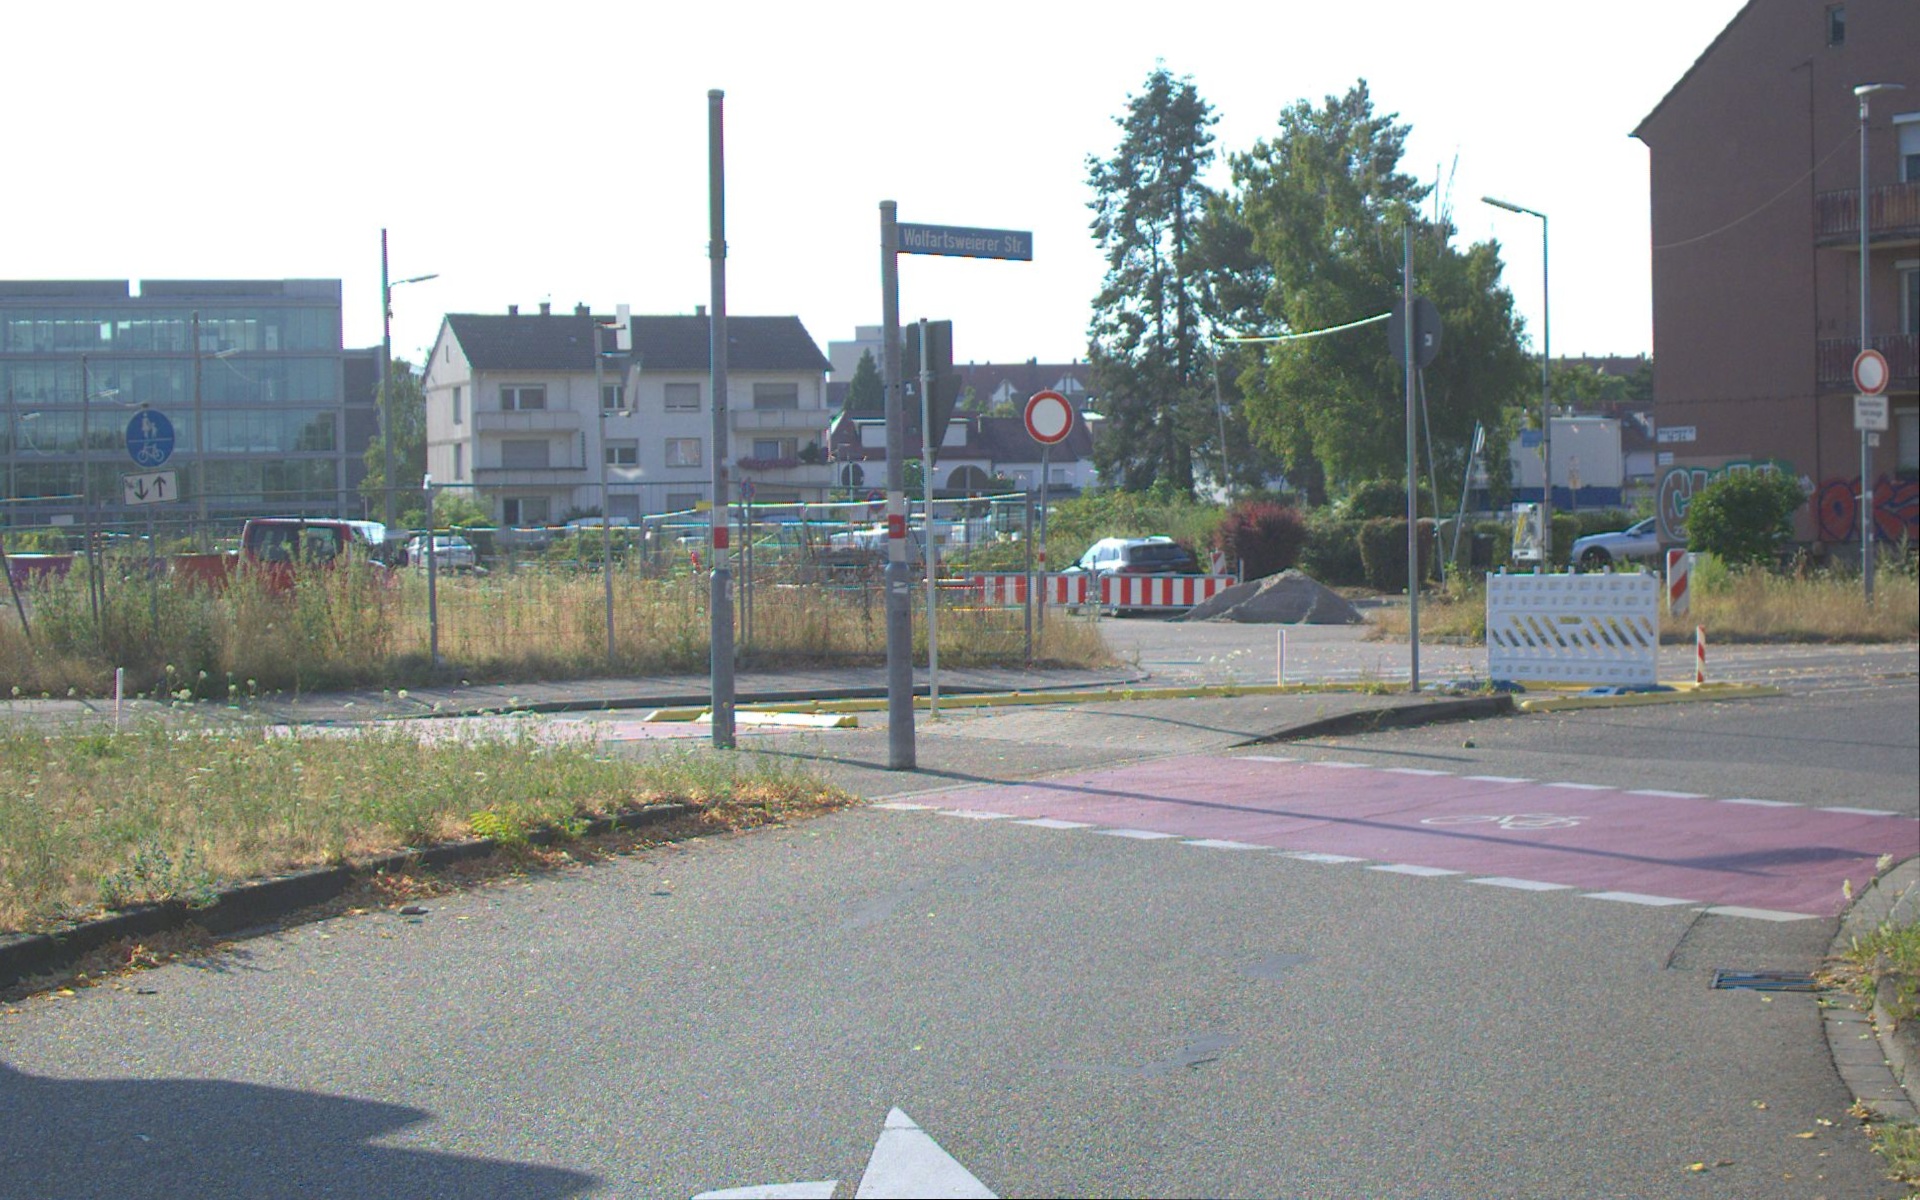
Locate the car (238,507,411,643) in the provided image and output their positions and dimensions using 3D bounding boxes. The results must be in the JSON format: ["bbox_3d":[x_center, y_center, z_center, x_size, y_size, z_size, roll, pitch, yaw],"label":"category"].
[{"bbox_3d":[-9.934,-0.433,54.099,1.993,2.007,5.314,-1,1,-3],"label":"car"}]

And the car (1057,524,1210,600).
[{"bbox_3d":[3.726,-0.835,74.609,1.993,1.546,4.001,-2,1,-18],"label":"car"}]

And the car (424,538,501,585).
[{"bbox_3d":[-19.956,-1.567,137.770,2.145,1.831,4.363,-1,1,-20],"label":"car"}]

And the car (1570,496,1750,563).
[{"bbox_3d":[16.982,-1.712,83.373,3.991,1.525,1.998,-1,1,21],"label":"car"}]

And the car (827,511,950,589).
[{"bbox_3d":[-1.900,-1.314,90.191,1.862,1.941,4.001,-2,1,-22],"label":"car"}]
